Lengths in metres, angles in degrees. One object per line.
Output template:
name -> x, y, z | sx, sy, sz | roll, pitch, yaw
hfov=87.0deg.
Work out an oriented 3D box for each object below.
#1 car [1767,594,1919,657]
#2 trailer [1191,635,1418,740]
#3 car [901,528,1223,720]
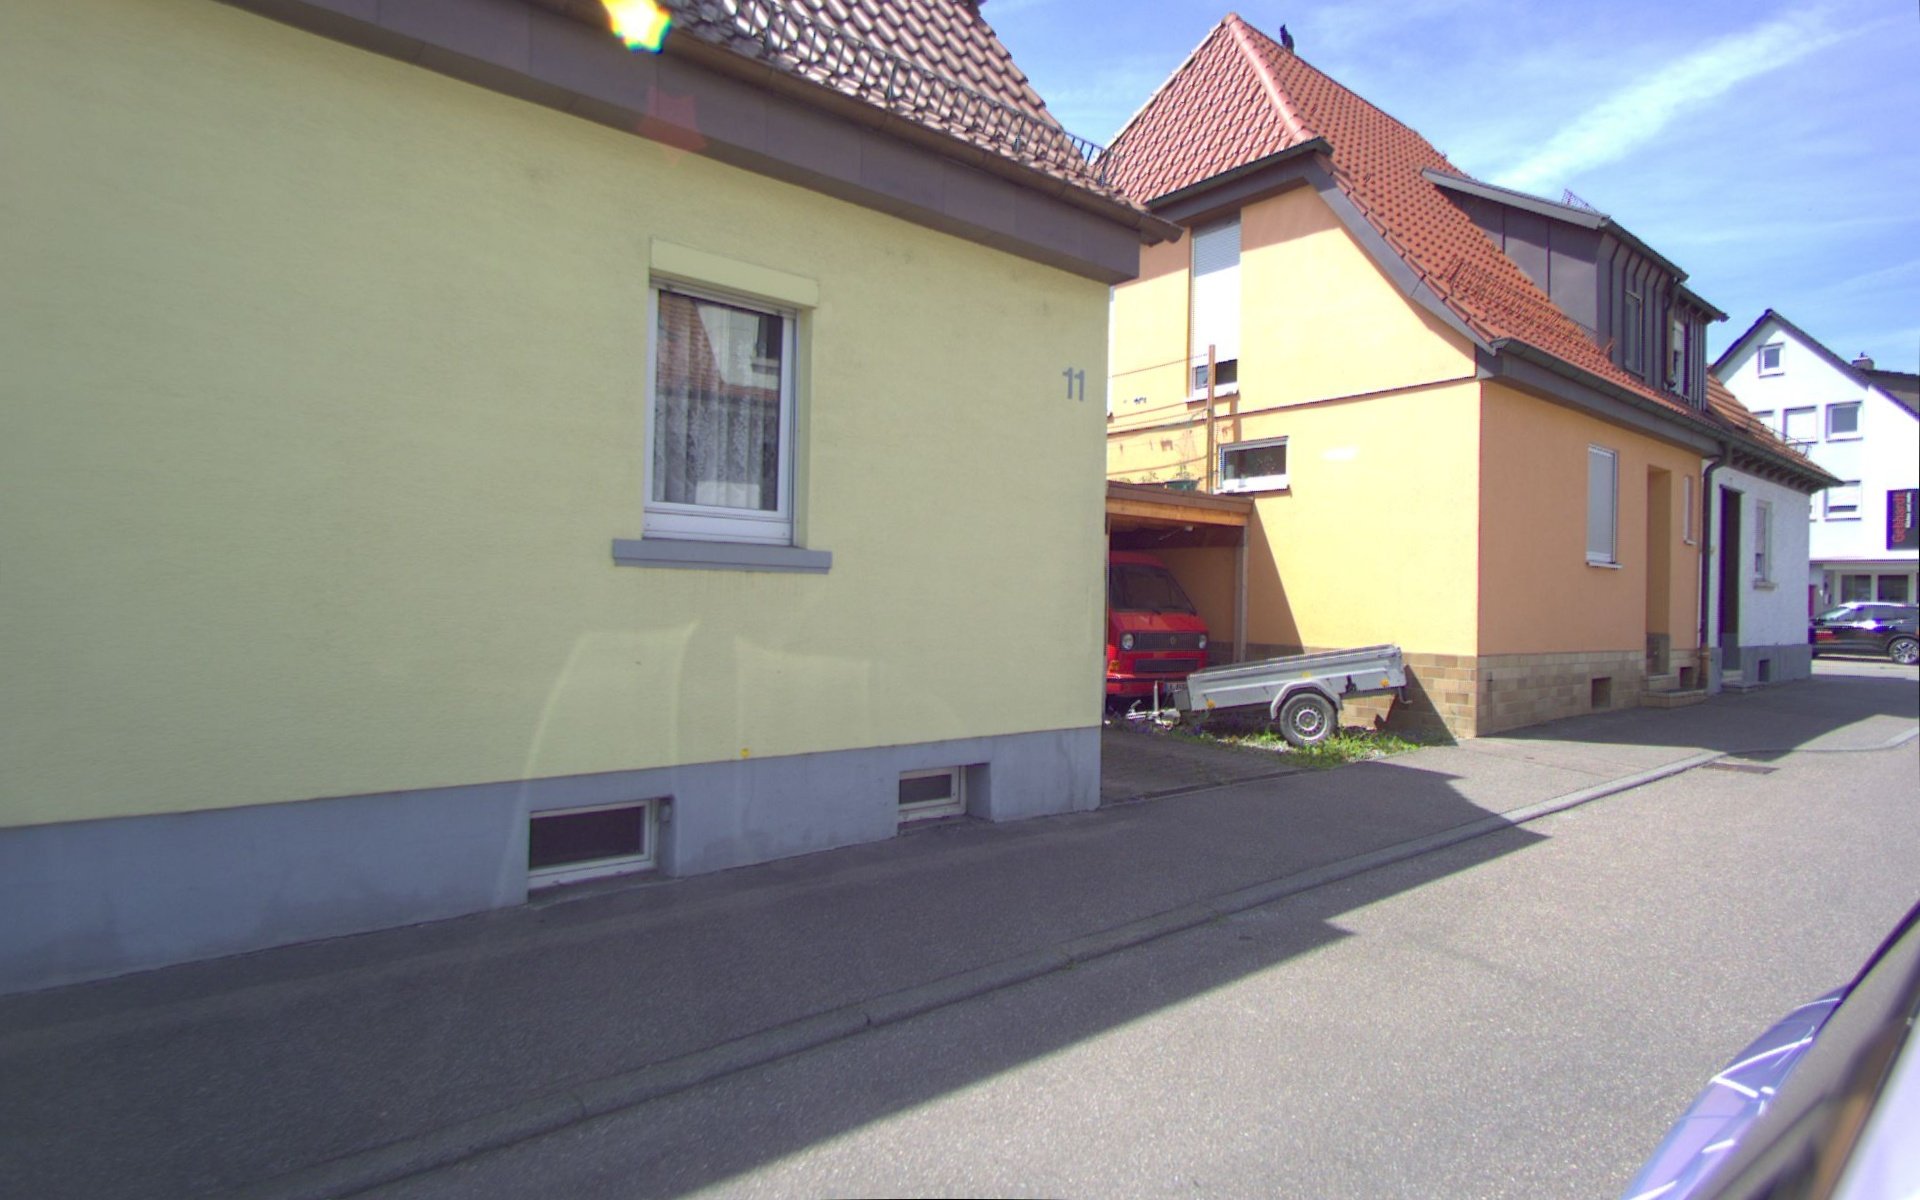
car -> 25.694, 0.688, 28.474 | 1.811, 1.674, 4.311 | 0, 0, -30
trailer -> 3.560, 0.859, 10.535 | 2.116, 0.911, 1.234 | 0, 0, 22
car -> 1.168, 0.250, 13.288 | 1.802, 2.097, 4.221 | 0, 0, -38
